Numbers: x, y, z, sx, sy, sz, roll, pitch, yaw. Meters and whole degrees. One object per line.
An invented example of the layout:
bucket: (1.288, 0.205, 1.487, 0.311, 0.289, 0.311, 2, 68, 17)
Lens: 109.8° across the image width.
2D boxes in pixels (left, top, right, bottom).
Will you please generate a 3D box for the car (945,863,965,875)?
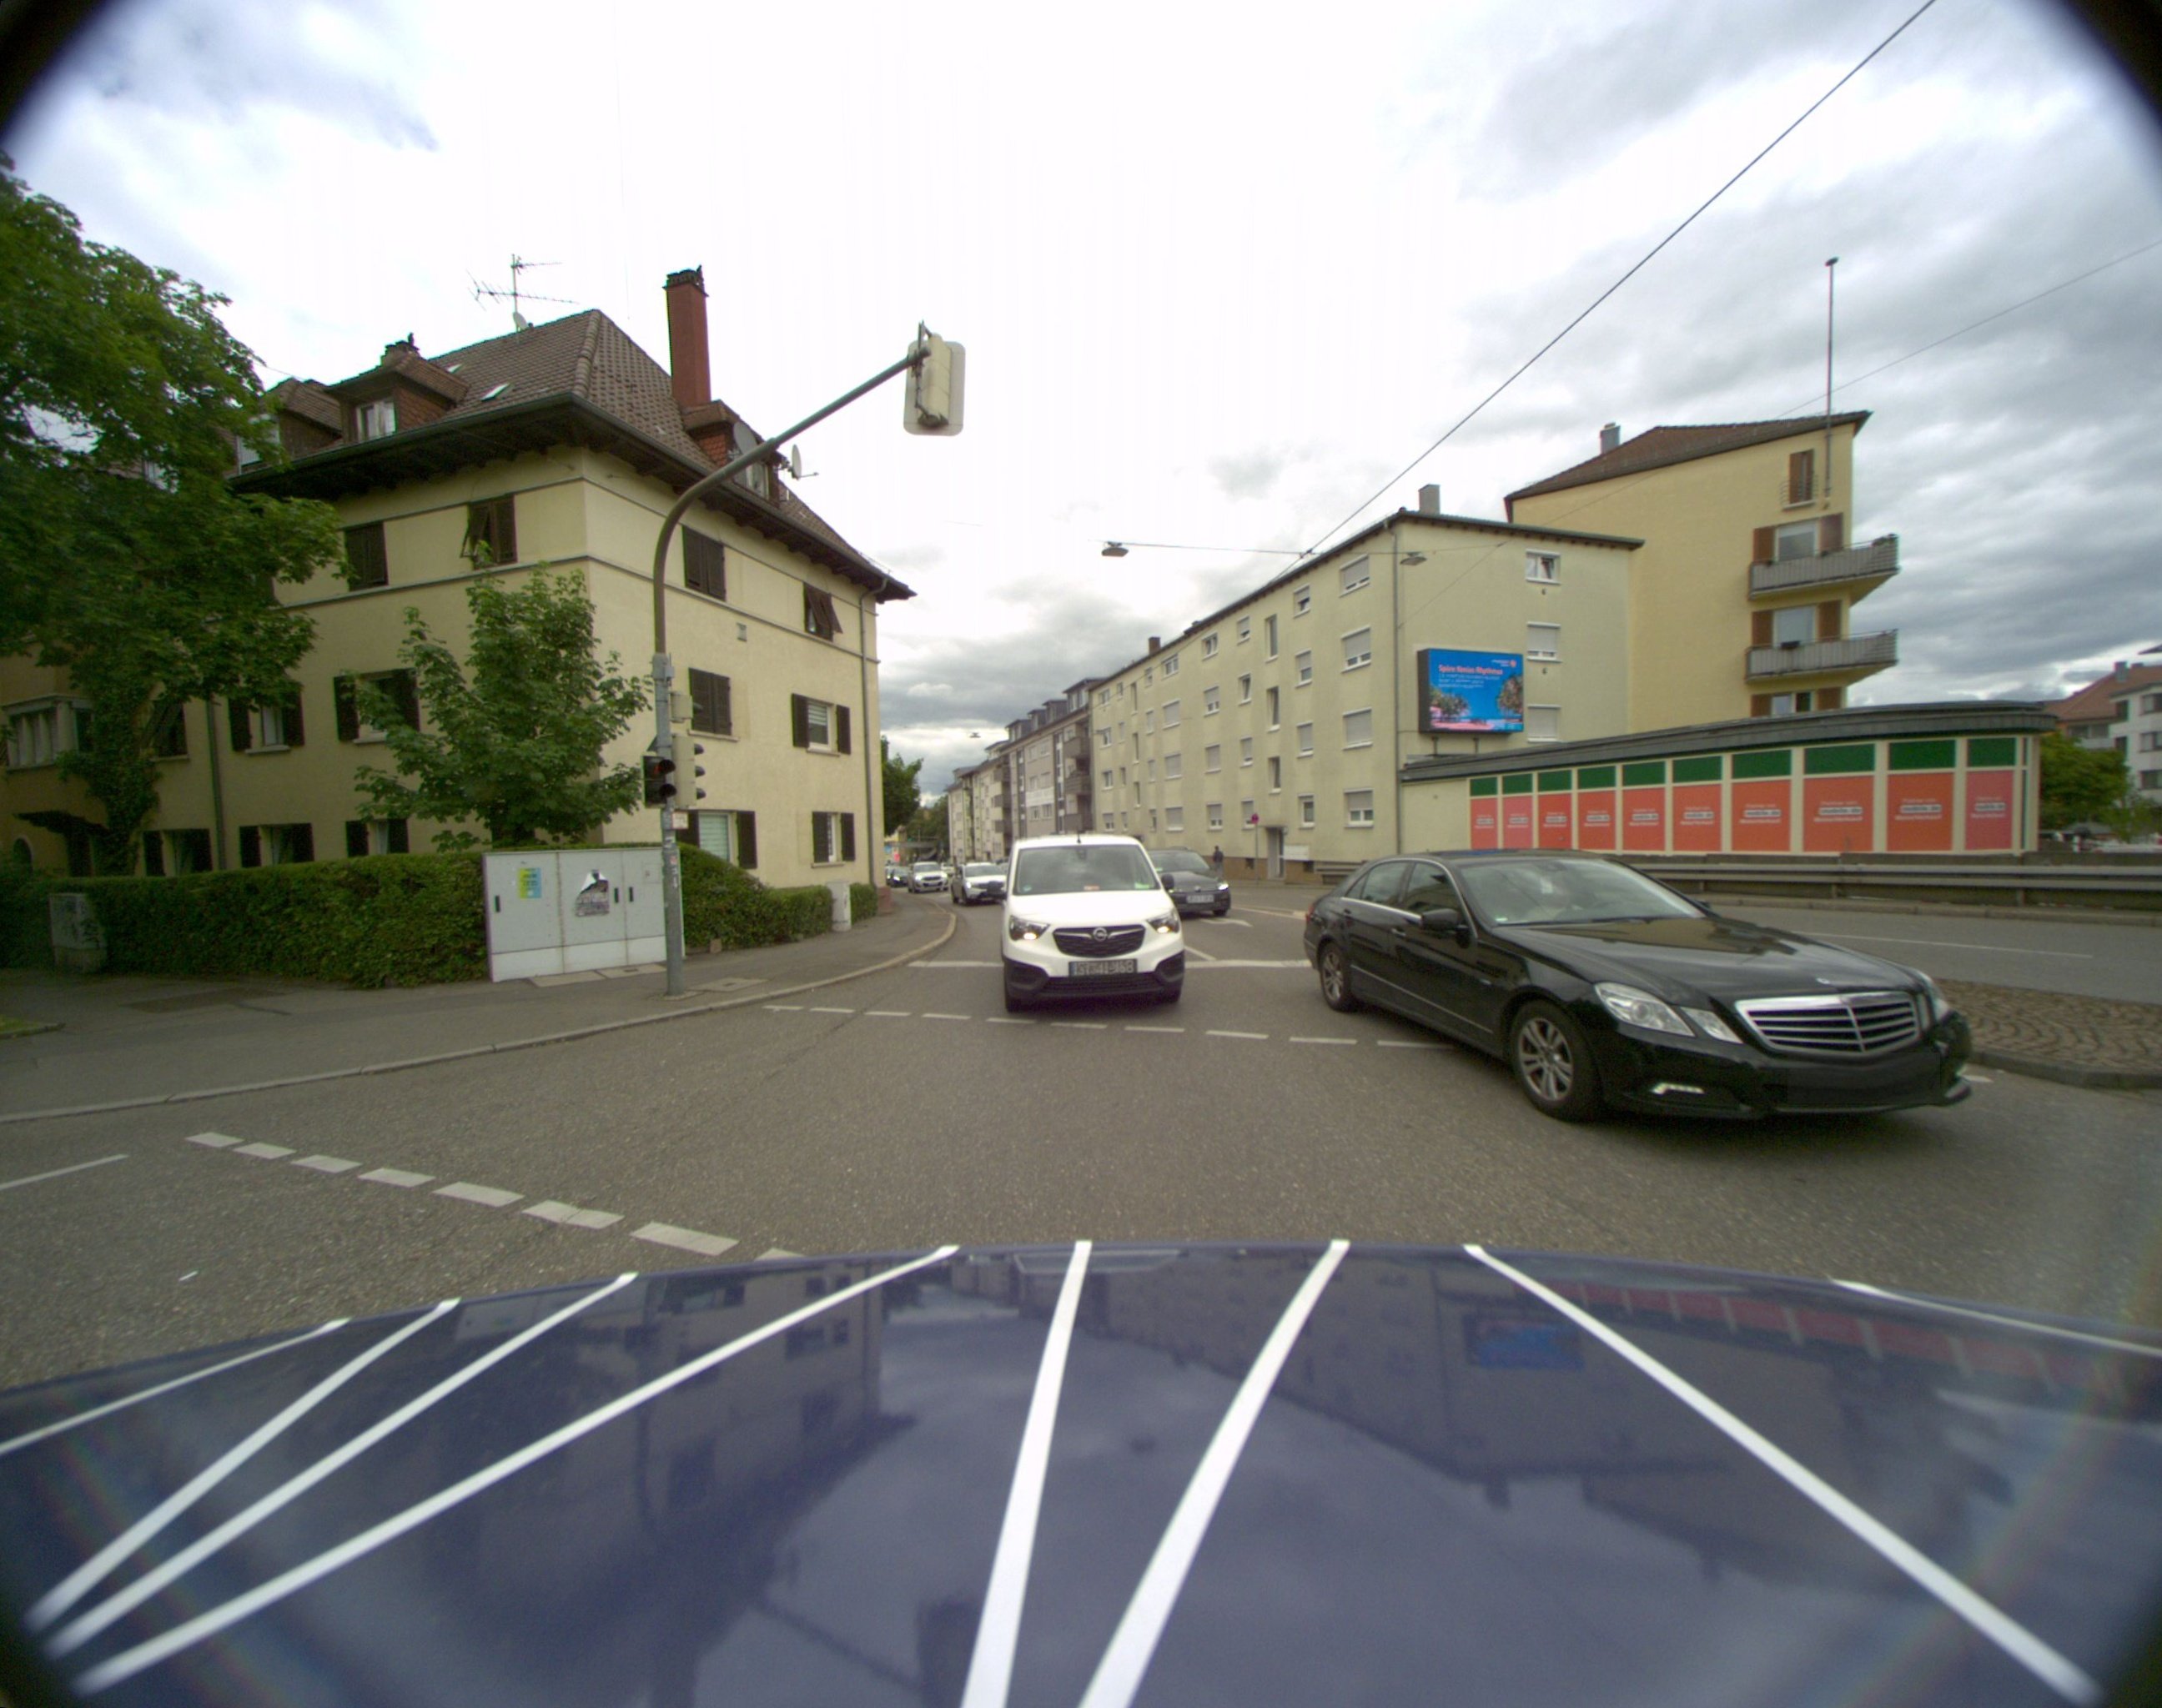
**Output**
car: (-15.962, 1.901, 96.249, 1.778, 1.395, 3.752, -1, 0, -21)

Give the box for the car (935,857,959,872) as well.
car: (-13.647, 1.076, 77.375, 1.605, 1.439, 3.523, -2, 1, -22)

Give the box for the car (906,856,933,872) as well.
car: (-15.415, 0.920, 72.460, 1.884, 1.347, 4.139, -4, 1, -20)

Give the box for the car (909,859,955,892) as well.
car: (-8.258, 1.123, 41.964, 1.902, 1.635, 3.993, -3, 1, -19)

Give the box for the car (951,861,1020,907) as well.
car: (-3.645, 1.047, 28.338, 1.901, 1.501, 4.161, -3, 0, -15)

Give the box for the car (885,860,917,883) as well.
car: (-13.138, 1.306, 55.277, 1.902, 1.572, 3.995, -1, -2, -18)

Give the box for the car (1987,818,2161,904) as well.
car: (20.791, 0.103, 14.572, 3.989, 1.543, 2.004, -2, 1, 35)

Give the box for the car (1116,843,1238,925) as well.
car: (2.137, 0.597, 18.268, 1.863, 1.602, 4.476, -4, 1, -6)

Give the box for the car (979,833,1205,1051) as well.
car: (-0.064, 0.722, 8.933, 1.863, 1.772, 4.709, -4, 1, -4)

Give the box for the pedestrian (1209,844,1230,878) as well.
pedestrian: (6.659, 0.332, 36.558, 0.690, 1.627, 0.778, -3, 1, -18)

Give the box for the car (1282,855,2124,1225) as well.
car: (3.271, 0.761, 5.576, 1.999, 1.420, 4.840, -2, 0, -4)
